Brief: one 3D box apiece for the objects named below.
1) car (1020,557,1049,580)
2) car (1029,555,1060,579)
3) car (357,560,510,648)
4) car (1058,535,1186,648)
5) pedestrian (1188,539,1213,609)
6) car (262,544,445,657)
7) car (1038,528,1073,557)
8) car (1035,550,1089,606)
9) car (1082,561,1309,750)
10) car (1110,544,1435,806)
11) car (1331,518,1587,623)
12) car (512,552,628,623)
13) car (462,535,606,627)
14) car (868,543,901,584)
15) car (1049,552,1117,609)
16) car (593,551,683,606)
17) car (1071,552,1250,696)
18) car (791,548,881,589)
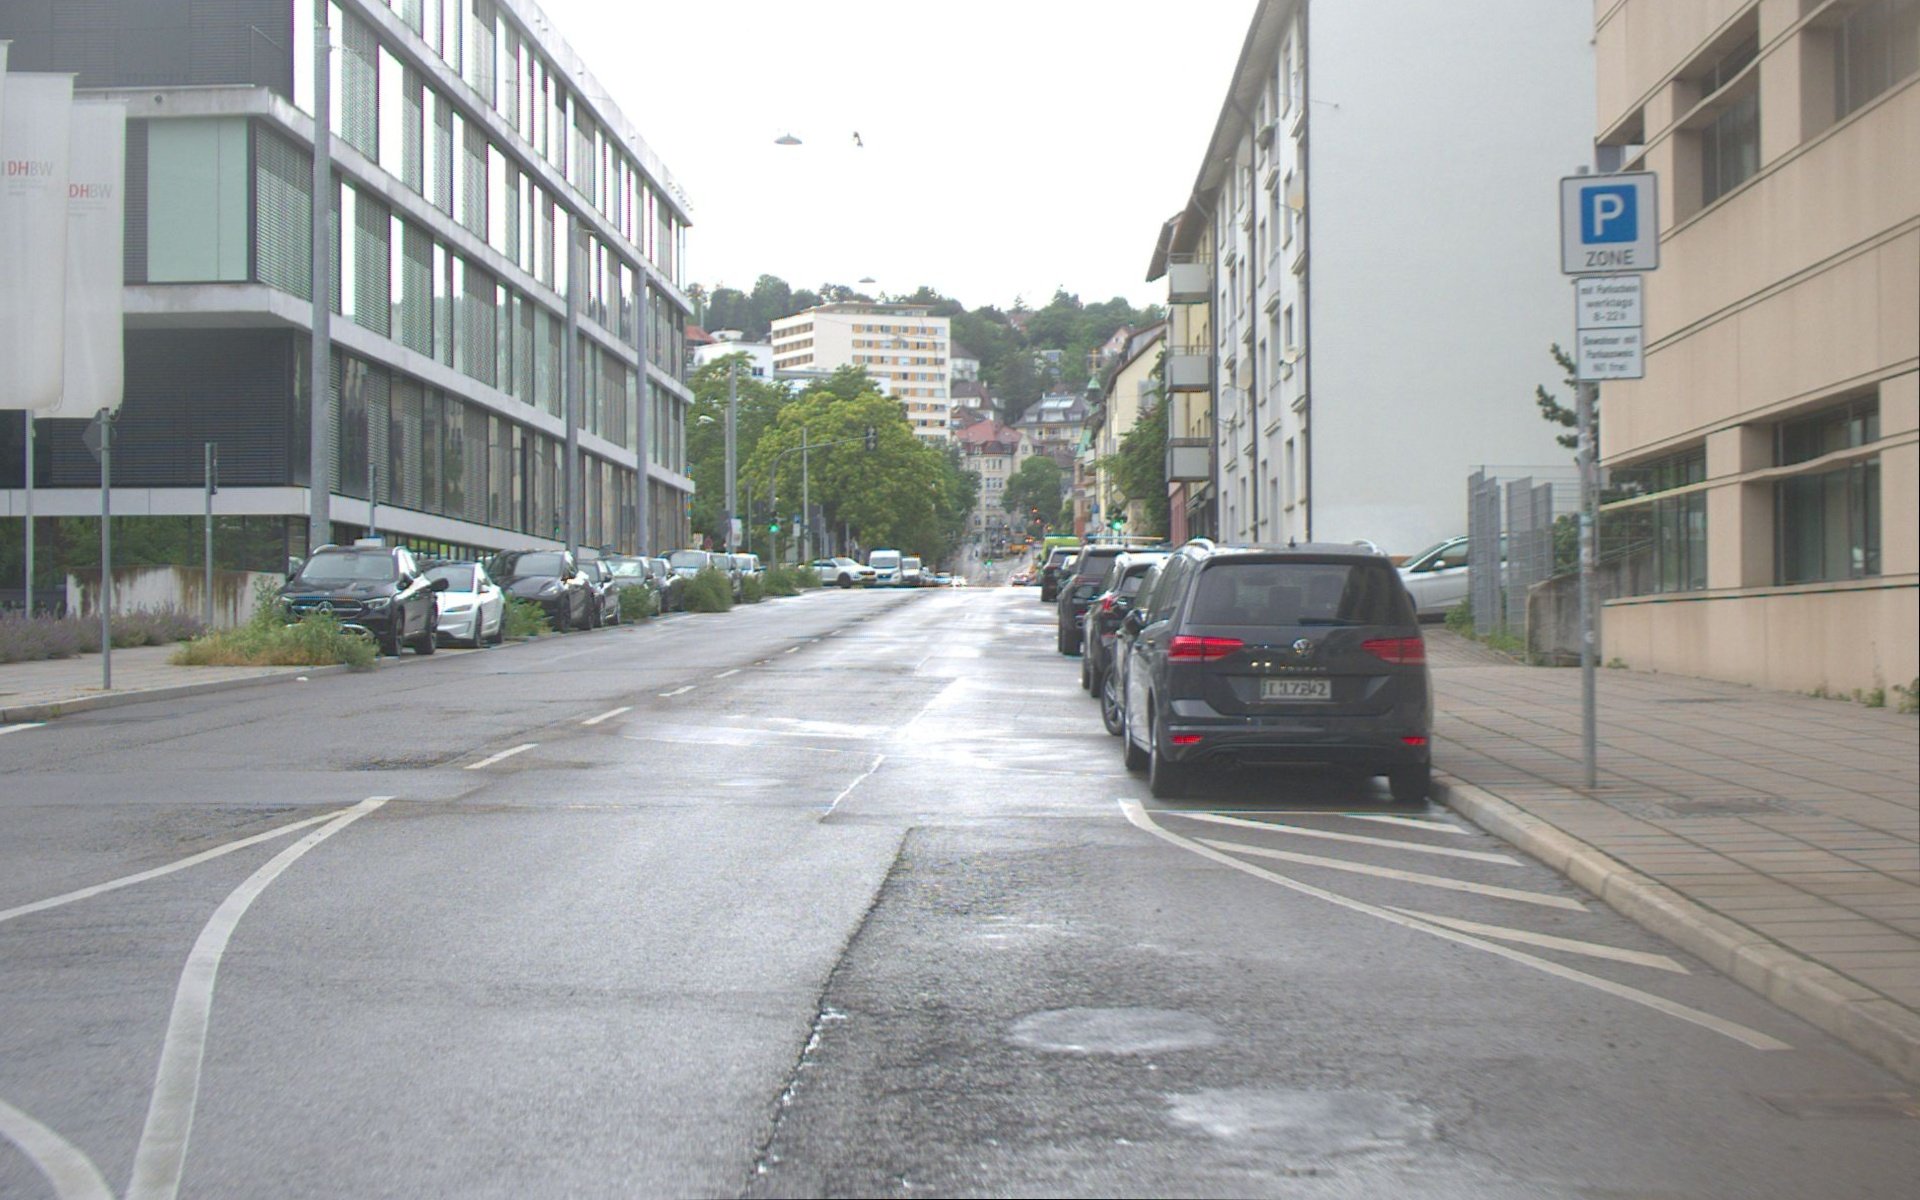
[{"bbox_3d":[5.234,-2.224,240.739,1.867,1.598,4.189,1,0,4],"label":"car"},{"bbox_3d":[5.738,-2.200,232.550,1.867,1.598,4.189,1,0,4],"label":"car"},{"bbox_3d":[-8.865,0.040,58.193,1.821,1.414,4.402,1,1,1],"label":"car"},{"bbox_3d":[2.594,-0.157,56.022,1.935,1.744,4.797,1,1,1],"label":"car"},{"bbox_3d":[6.401,-0.687,91.504,0.639,1.864,0.538,1,0,3],"label":"pedestrian"},{"bbox_3d":[-9.023,-0.017,51.491,1.849,1.612,4.491,1,1,1],"label":"car"},{"bbox_3d":[5.510,-3.291,197.820,1.867,1.598,4.189,1,0,4],"label":"car"},{"bbox_3d":[3.278,-0.736,110.916,1.655,1.732,4.180,0,1,1],"label":"car"},{"bbox_3d":[2.016,0.455,30.413,1.725,1.507,4.058,2,0,1],"label":"car"},{"bbox_3d":[2.013,0.439,23.310,1.771,1.598,4.395,1,1,0],"label":"car"},{"bbox_3d":[9.309,-0.553,64.383,4.438,1.707,1.905,-3,0,1],"label":"car"},{"bbox_3d":[-8.390,-0.293,74.279,1.871,1.467,4.740,1,1,1],"label":"car"},{"bbox_3d":[-8.418,-0.382,68.326,1.963,1.744,4.941,1,1,3],"label":"car"},{"bbox_3d":[-4.785,-2.313,218.403,2.105,2.538,4.751,1,0,-1],"label":"car"},{"bbox_3d":[3.208,-0.532,90.324,1.706,1.449,3.984,1,1,1],"label":"car"},{"bbox_3d":[-8.420,-0.578,90.153,1.837,1.391,4.392,1,1,1],"label":"car"},{"bbox_3d":[2.226,0.240,39.098,1.743,1.528,4.319,1,1,0],"label":"car"},{"bbox_3d":[-5.822,-1.470,160.855,4.201,1.663,1.636,-3,-4,41],"label":"car"}]
